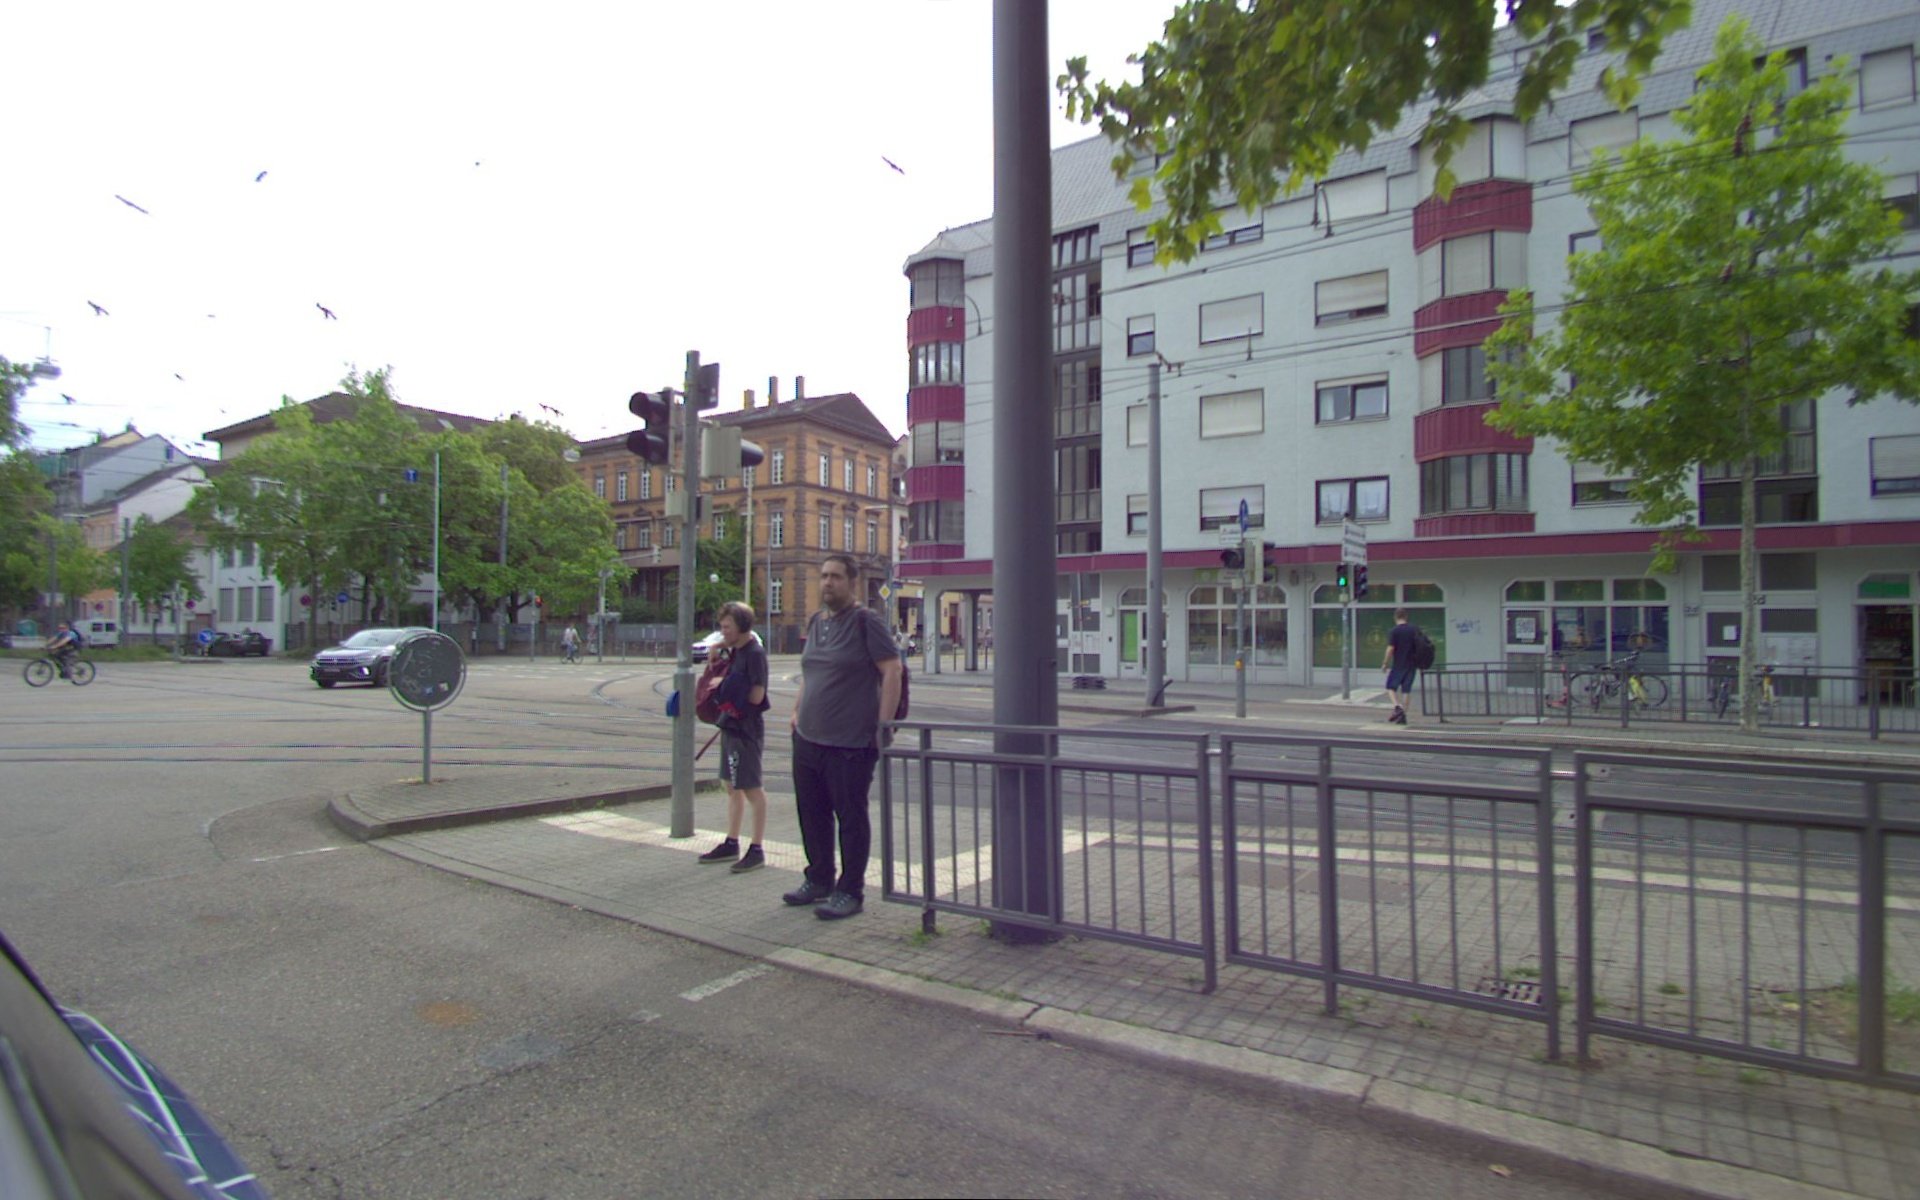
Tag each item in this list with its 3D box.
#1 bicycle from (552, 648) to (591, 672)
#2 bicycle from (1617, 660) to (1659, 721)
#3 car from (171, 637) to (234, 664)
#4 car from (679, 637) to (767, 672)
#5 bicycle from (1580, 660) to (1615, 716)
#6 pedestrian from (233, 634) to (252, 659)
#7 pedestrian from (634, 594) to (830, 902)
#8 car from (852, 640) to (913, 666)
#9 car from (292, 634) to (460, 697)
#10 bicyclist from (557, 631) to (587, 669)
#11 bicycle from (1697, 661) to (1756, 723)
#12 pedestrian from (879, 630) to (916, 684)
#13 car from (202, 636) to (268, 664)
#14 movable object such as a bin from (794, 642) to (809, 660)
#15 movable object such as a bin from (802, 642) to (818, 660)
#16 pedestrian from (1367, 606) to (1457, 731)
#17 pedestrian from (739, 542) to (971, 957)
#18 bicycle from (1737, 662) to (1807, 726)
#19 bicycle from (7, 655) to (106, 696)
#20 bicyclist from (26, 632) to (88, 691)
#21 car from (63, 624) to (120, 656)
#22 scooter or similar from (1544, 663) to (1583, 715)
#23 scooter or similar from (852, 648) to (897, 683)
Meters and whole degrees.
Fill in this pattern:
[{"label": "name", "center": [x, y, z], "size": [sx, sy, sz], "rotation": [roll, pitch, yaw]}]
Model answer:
[{"label": "bicycle", "center": [-18.557, 2.870, 48.370], "size": [2.011, 1.095, 0.742], "rotation": [-1, -3, 35]}, {"label": "bicycle", "center": [13.883, 1.815, 20.705], "size": [0.626, 1.026, 2.155], "rotation": [-1, 0, 36]}, {"label": "car", "center": [-46.294, 3.065, 61.854], "size": [4.409, 1.547, 1.740], "rotation": [-2, -3, 34]}, {"label": "car", "center": [-11.324, 2.597, 48.619], "size": [1.766, 1.603, 4.242], "rotation": [-3, -3, 27]}, {"label": "bicycle", "center": [13.423, 1.831, 21.327], "size": [0.477, 1.026, 1.715], "rotation": [-1, 0, 28]}, {"label": "pedestrian", "center": [-47.527, 3.056, 67.064], "size": [0.764, 1.663, 0.760], "rotation": [-1, -3, 34]}, {"label": "pedestrian", "center": [-1.391, 0.832, 6.172], "size": [0.938, 1.684, 0.755], "rotation": [-2, -3, 42]}, {"label": "car", "center": [-4.726, 3.244, 62.367], "size": [1.767, 1.547, 4.007], "rotation": [-3, -3, 30]}, {"label": "car", "center": [-15.649, 1.728, 27.411], "size": [1.752, 1.559, 4.274], "rotation": [0, -2, 5]}, {"label": "bicyclist", "center": [-18.578, 2.370, 48.410], "size": [1.250, 1.774, 0.739], "rotation": [-2, -3, 35]}, {"label": "bicycle", "center": [15.030, 1.776, 19.882], "size": [0.625, 1.026, 1.867], "rotation": [-1, 0, 28]}, {"label": "pedestrian", "center": [-2.064, 1.879, 33.575], "size": [0.945, 1.757, 0.805], "rotation": [-1, -3, 27]}, {"label": "car", "center": [-42.323, 2.921, 59.077], "size": [4.409, 1.573, 1.716], "rotation": [-2, -3, 34]}, {"label": "movable object such as a bin", "center": [-10.066, 3.268, 64.383], "size": [0.649, 1.090, 0.672], "rotation": [3, 0, 25]}, {"label": "movable object such as a bin", "center": [-9.643, 3.285, 65.027], "size": [0.662, 1.090, 0.695], "rotation": [3, 0, 25]}, {"label": "pedestrian", "center": [7.183, 1.065, 16.124], "size": [0.791, 1.913, 1.006], "rotation": [1, -3, -19]}, {"label": "pedestrian", "center": [-0.530, 0.692, 5.181], "size": [0.840, 1.870, 0.833], "rotation": [-2, -3, 42]}, {"label": "bicycle", "center": [15.650, 1.782, 19.555], "size": [0.707, 1.026, 1.867], "rotation": [-1, 0, 28]}, {"label": "bicycle", "center": [-23.652, 1.962, 26.531], "size": [0.709, 1.026, 1.790], "rotation": [-1, -3, 17]}, {"label": "bicyclist", "center": [-23.657, 1.608, 26.529], "size": [0.710, 1.519, 0.913], "rotation": [0, -3, 18]}, {"label": "car", "center": [-62.880, 2.896, 73.259], "size": [4.409, 2.206, 2.073], "rotation": [-2, -3, 34]}, {"label": "scooter or similar", "center": [12.770, 1.872, 21.428], "size": [0.347, 0.995, 1.171], "rotation": [0, 0, 12]}, {"label": "scooter or similar", "center": [-2.858, 2.196, 33.955], "size": [1.194, 1.137, 0.938], "rotation": [-2, -3, 28]}]
